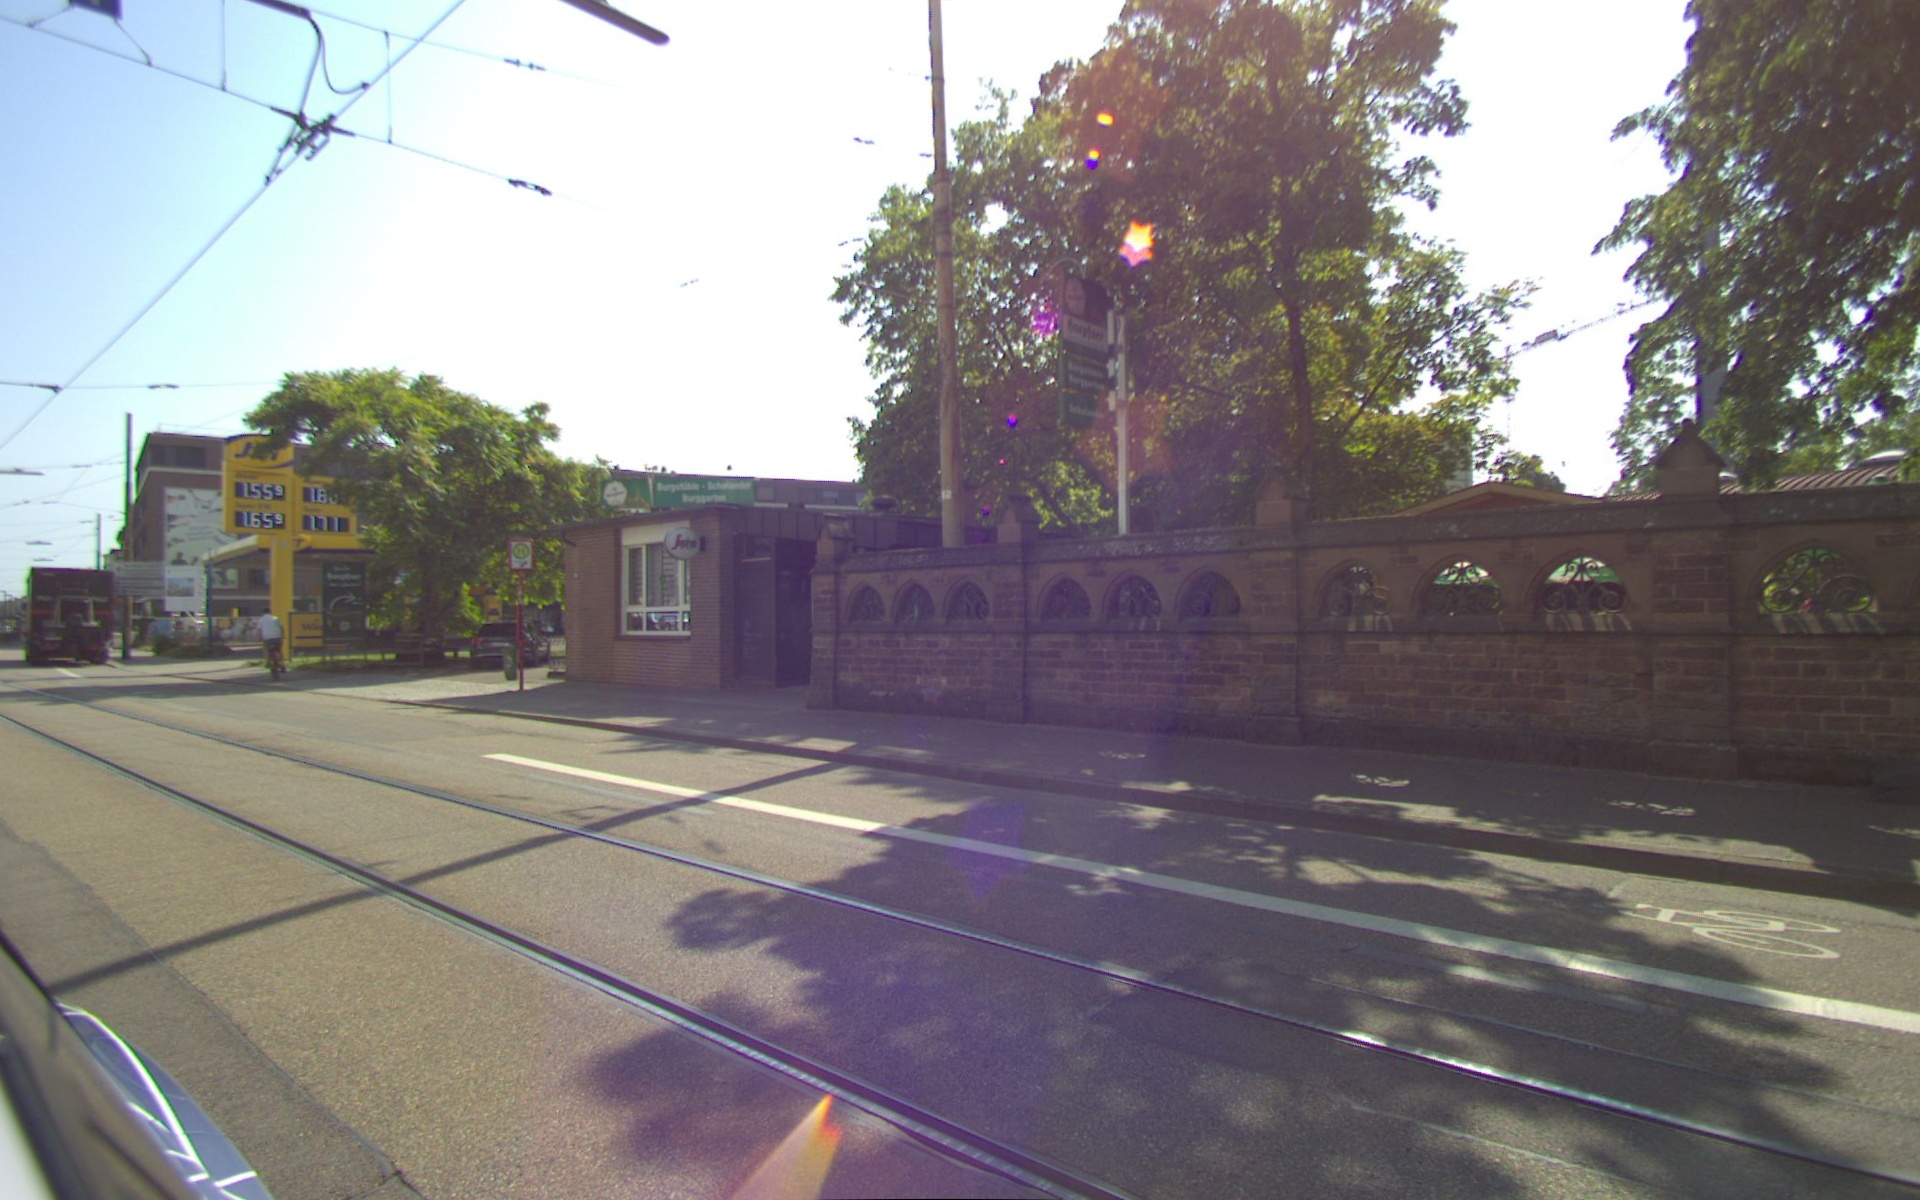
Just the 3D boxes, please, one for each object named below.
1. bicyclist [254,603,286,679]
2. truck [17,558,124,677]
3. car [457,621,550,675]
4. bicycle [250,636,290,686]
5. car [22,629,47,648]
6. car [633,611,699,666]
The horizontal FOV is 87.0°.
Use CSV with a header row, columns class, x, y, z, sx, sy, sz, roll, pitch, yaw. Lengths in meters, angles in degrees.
class,x,y,z,sx,sy,sz,roll,pitch,yaw
bicyclist,-18.232,1.066,26.756,0.632,1.944,1.179,0,-1,-30
truck,-40.159,0.818,45.398,3.127,4.487,16.856,0,-1,-43
car,-13.766,1.397,30.745,1.905,1.472,4.540,0,-1,-15
bicycle,-18.235,1.619,26.786,0.775,1.250,2.039,0,-3,-31
car,-87.170,3.598,95.324,1.753,1.679,4.004,0,-1,-43
car,-9.488,1.193,32.818,1.905,1.610,4.540,0,-1,-15
